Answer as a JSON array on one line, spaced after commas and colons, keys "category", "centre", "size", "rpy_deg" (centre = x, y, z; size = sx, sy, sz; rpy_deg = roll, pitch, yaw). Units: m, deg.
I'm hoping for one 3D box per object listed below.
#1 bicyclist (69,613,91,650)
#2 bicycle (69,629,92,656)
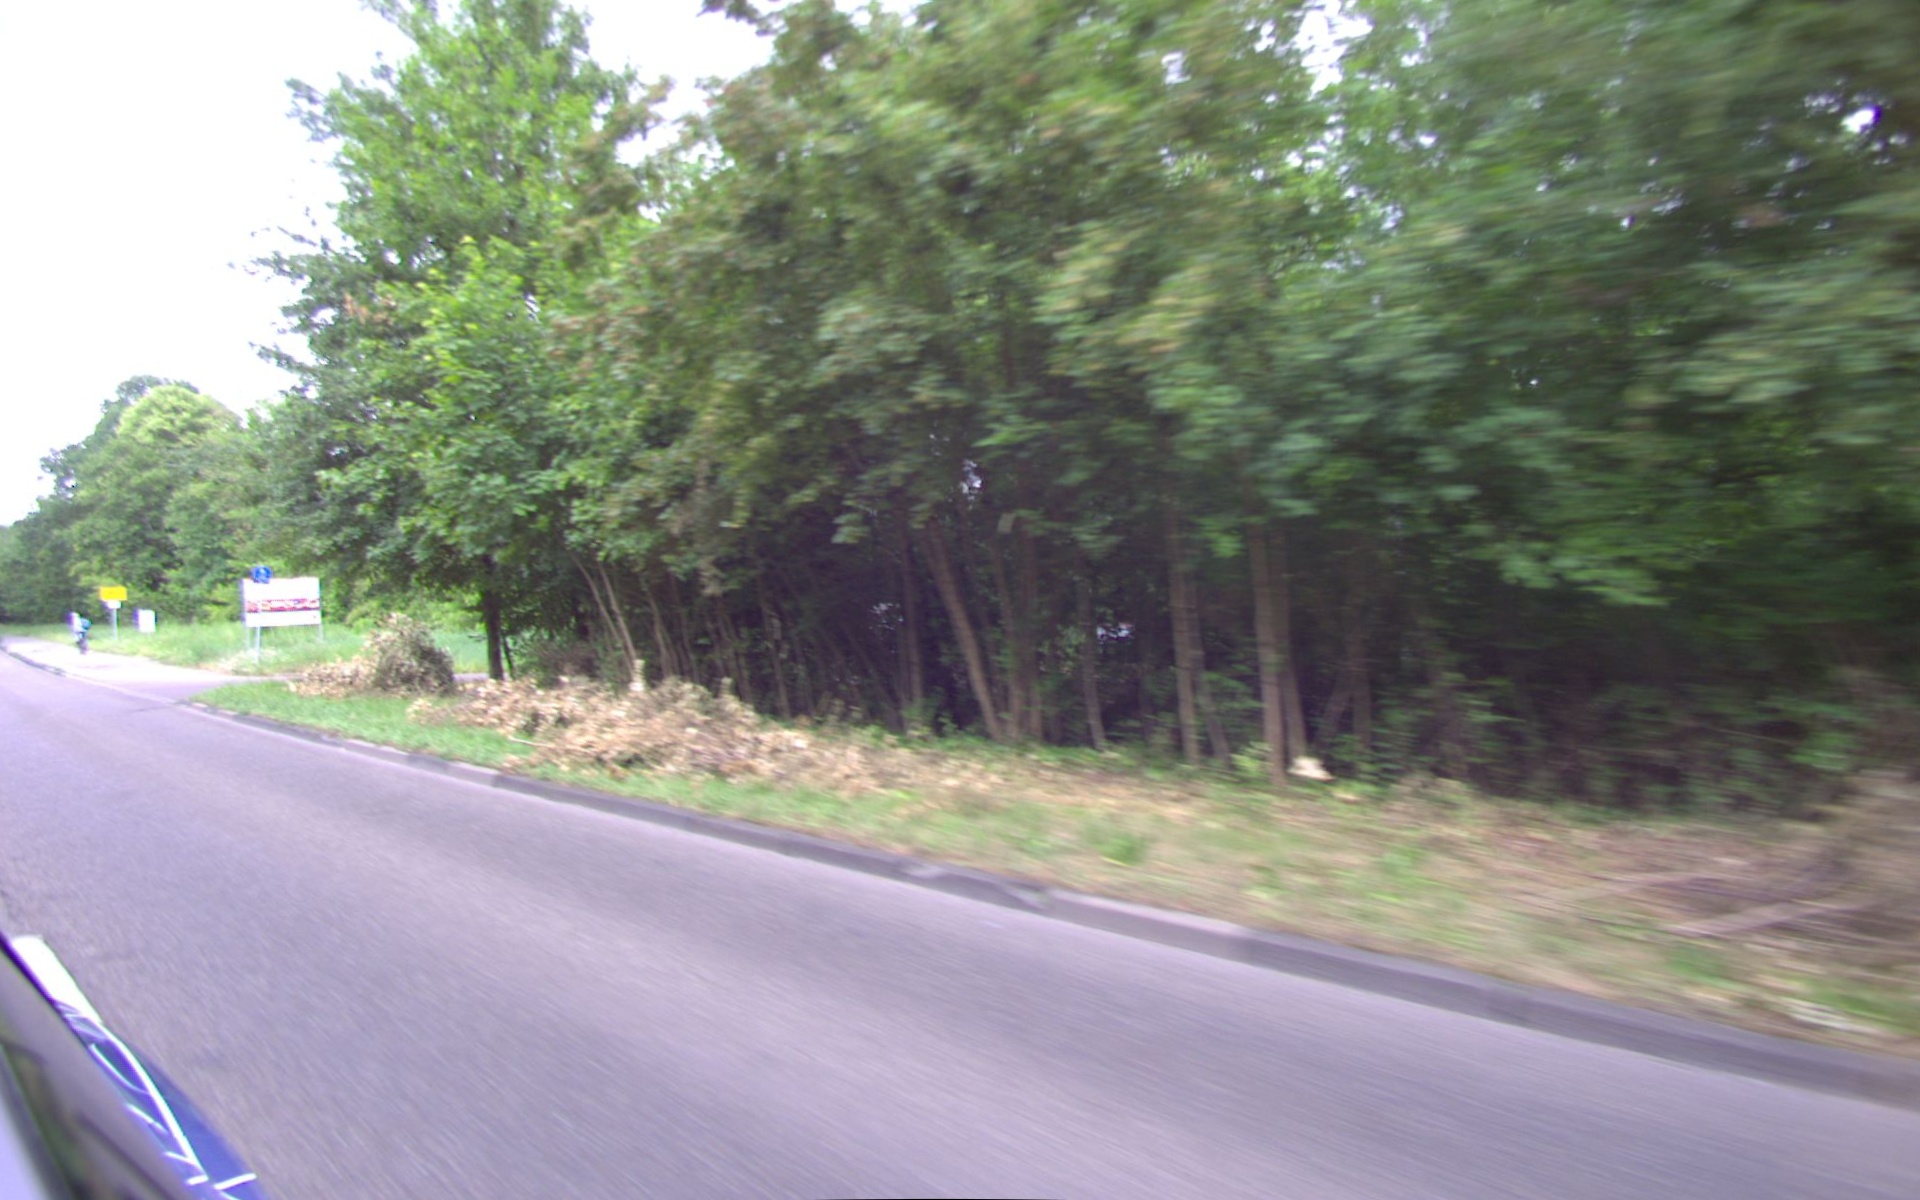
[{"category": "bicyclist", "centre": [-37.570, 1.339, 43.202], "size": [0.657, 1.531, 1.272], "rpy_deg": [-2, 0, -43]}, {"category": "bicycle", "centre": [-37.554, 1.798, 43.203], "size": [0.657, 1.082, 2.148], "rpy_deg": [-2, 0, -43]}]
